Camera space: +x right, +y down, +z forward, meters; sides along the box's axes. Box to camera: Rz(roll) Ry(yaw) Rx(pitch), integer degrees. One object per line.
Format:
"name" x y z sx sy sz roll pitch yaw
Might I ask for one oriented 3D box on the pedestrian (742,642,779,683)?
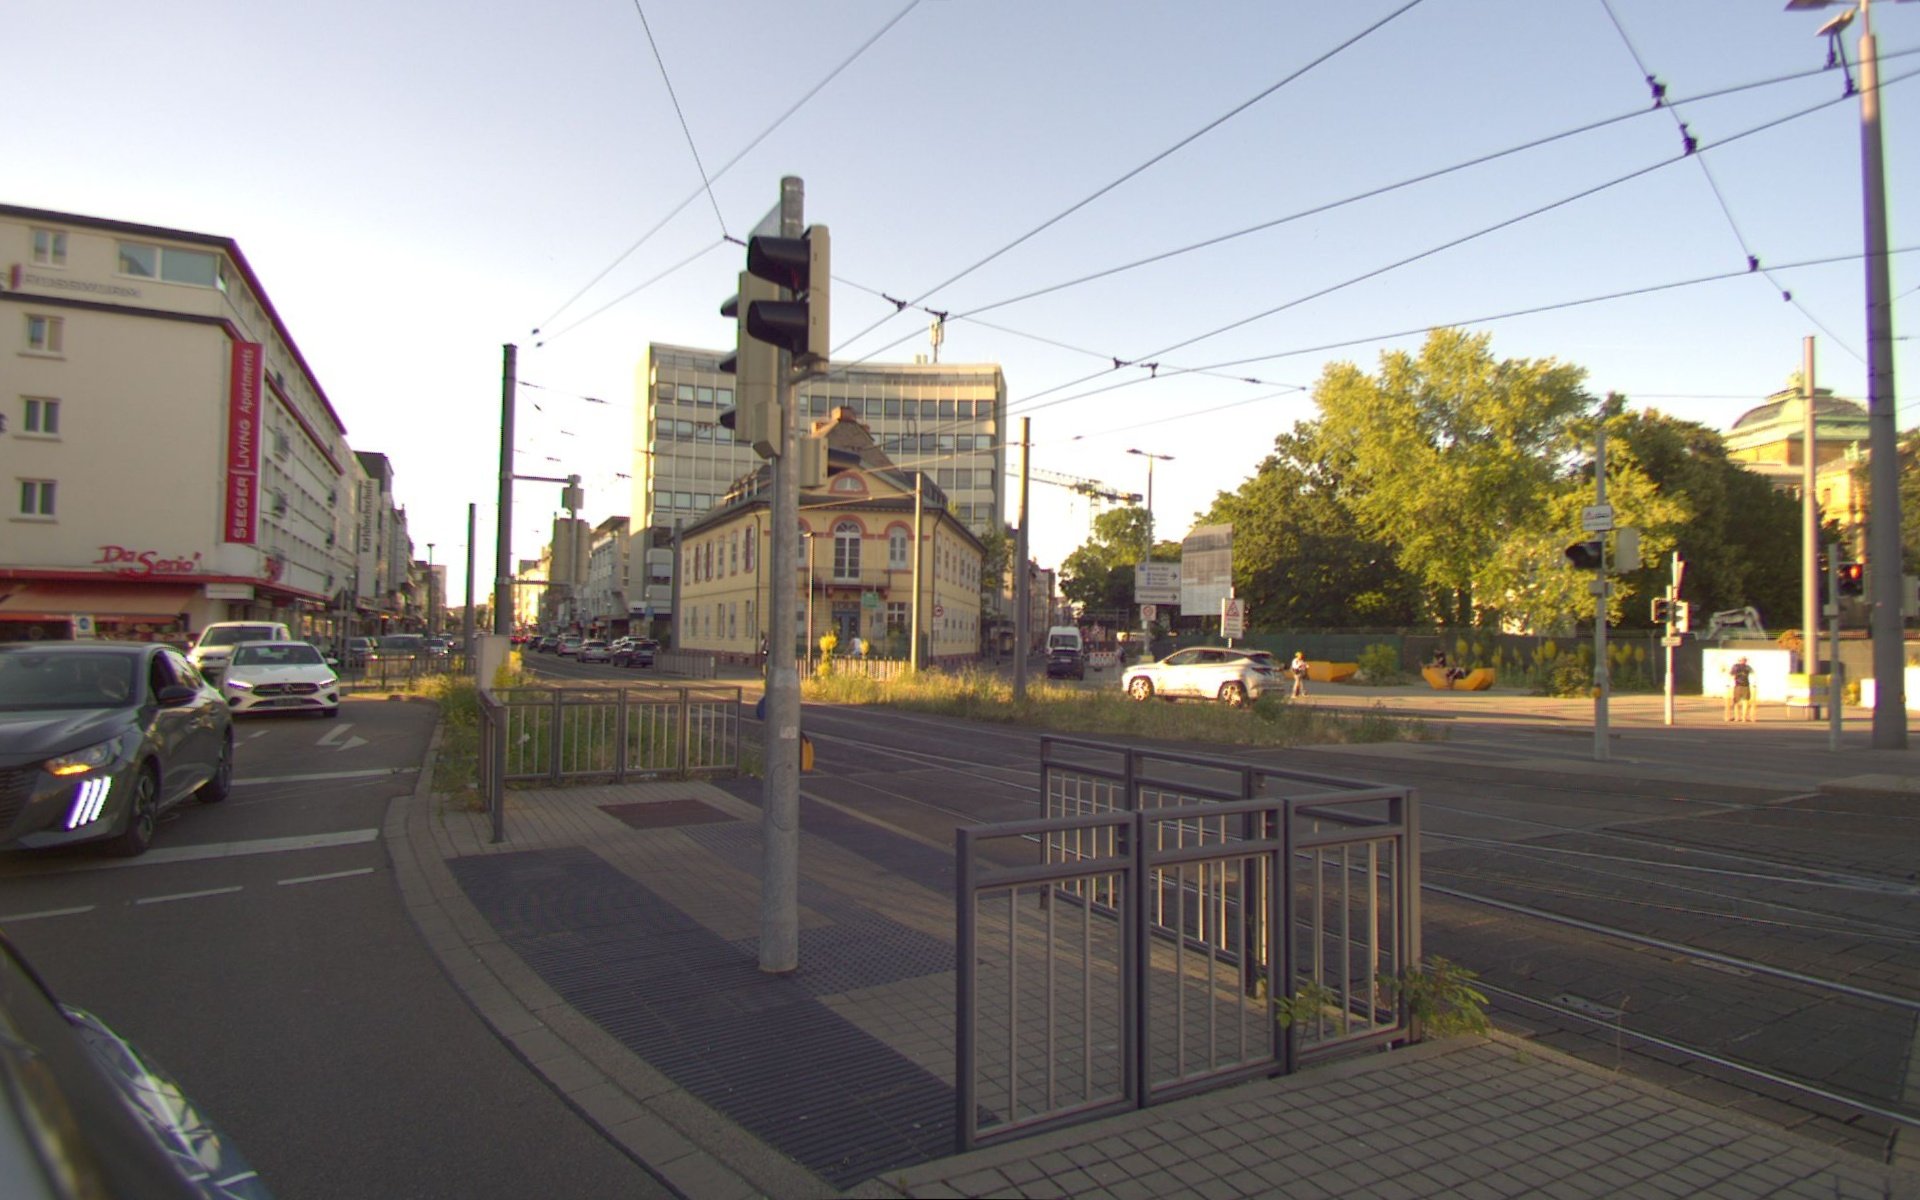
"pedestrian" -7.398 2.313 37.601 1.033 1.514 1.001 0 -3 10

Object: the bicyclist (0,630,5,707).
"bicyclist" -19.064 1.330 19.637 0.716 1.498 0.581 -1 -4 35

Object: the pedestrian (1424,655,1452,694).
"pedestrian" 21.012 3.268 44.493 0.808 1.678 0.766 2 -3 -25

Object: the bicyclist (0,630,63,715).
"bicyclist" -16.816 1.302 18.309 0.715 1.498 0.608 -1 -3 28

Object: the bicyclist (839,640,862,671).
"bicyclist" -4.502 2.274 41.552 0.723 1.267 0.664 0 -3 18

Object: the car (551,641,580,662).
"car" -31.986 4.173 82.071 1.808 1.610 4.085 2 -3 -26

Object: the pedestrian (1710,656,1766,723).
"pedestrian" 21.060 2.416 27.424 0.936 1.749 0.817 0 -3 18

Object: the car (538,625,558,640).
"car" -57.558 4.536 141.508 1.966 2.029 4.012 0 -2 -31

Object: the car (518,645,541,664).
"car" -47.755 5.996 112.244 1.965 2.005 4.132 2 -3 -28

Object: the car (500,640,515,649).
"car" -75.193 7.386 168.189 1.818 1.519 4.011 3 -3 -31

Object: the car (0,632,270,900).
"car" -6.805 1.018 7.713 1.884 1.515 4.717 2 -3 -26

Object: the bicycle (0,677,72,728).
"bicycle" -16.835 1.836 18.255 1.797 0.831 0.609 -1 -3 29

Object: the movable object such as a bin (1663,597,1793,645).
"movable object such as a bin" 34.794 1.029 46.064 1.972 2.029 5.024 1 -3 0

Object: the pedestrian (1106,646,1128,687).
"pedestrian" 6.739 2.863 43.524 0.870 1.737 0.826 1 -3 11

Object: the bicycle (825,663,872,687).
"bicycle" -4.564 3.075 41.515 1.782 0.899 0.676 0 -3 18

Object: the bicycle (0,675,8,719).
"bicycle" -19.108 1.863 19.636 1.737 0.831 0.592 -1 -3 37

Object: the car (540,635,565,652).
"car" -47.447 5.067 117.816 1.966 1.962 4.011 2 -3 -31

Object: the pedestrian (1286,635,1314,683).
"pedestrian" 11.686 2.022 34.751 0.678 1.626 0.598 2 -3 -22

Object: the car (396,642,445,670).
"car" -29.868 3.076 56.165 2.005 1.452 4.676 3 -3 -24

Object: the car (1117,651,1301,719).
"car" 6.760 2.256 27.667 4.525 1.673 1.926 -1 -3 35

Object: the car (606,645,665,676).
"car" -17.822 3.269 55.464 1.966 1.528 4.427 0 -2 -33

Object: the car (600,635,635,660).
"car" -24.837 3.443 73.376 1.707 1.721 3.817 4 -3 -28

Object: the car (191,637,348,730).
"car" -13.188 1.485 19.212 1.789 1.460 4.568 3 -2 -43

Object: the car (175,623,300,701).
"car" -18.857 1.624 26.658 1.966 1.852 4.891 2 -4 -28

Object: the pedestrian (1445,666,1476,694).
"pedestrian" 21.332 3.416 43.139 0.973 1.166 0.737 2 -3 -25

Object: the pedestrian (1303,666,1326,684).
"pedestrian" 18.003 3.804 51.430 0.982 0.900 0.554 -2 -4 44

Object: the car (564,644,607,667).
"car" -24.205 3.590 65.329 1.882 1.421 4.351 2 -3 -29

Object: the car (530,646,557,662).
"car" -39.280 5.079 95.376 1.984 1.439 4.671 1 -3 -27

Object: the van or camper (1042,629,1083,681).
"van or camper" 6.011 3.197 58.723 2.060 2.796 6.432 1 -3 8

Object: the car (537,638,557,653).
"car" -55.079 6.073 134.892 1.966 1.963 4.012 2 -4 -30

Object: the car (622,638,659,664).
"car" -21.822 3.468 69.122 1.707 1.721 3.450 2 -3 -28

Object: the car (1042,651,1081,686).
"car" 4.808 3.238 48.183 1.762 1.555 4.283 1 -3 5
